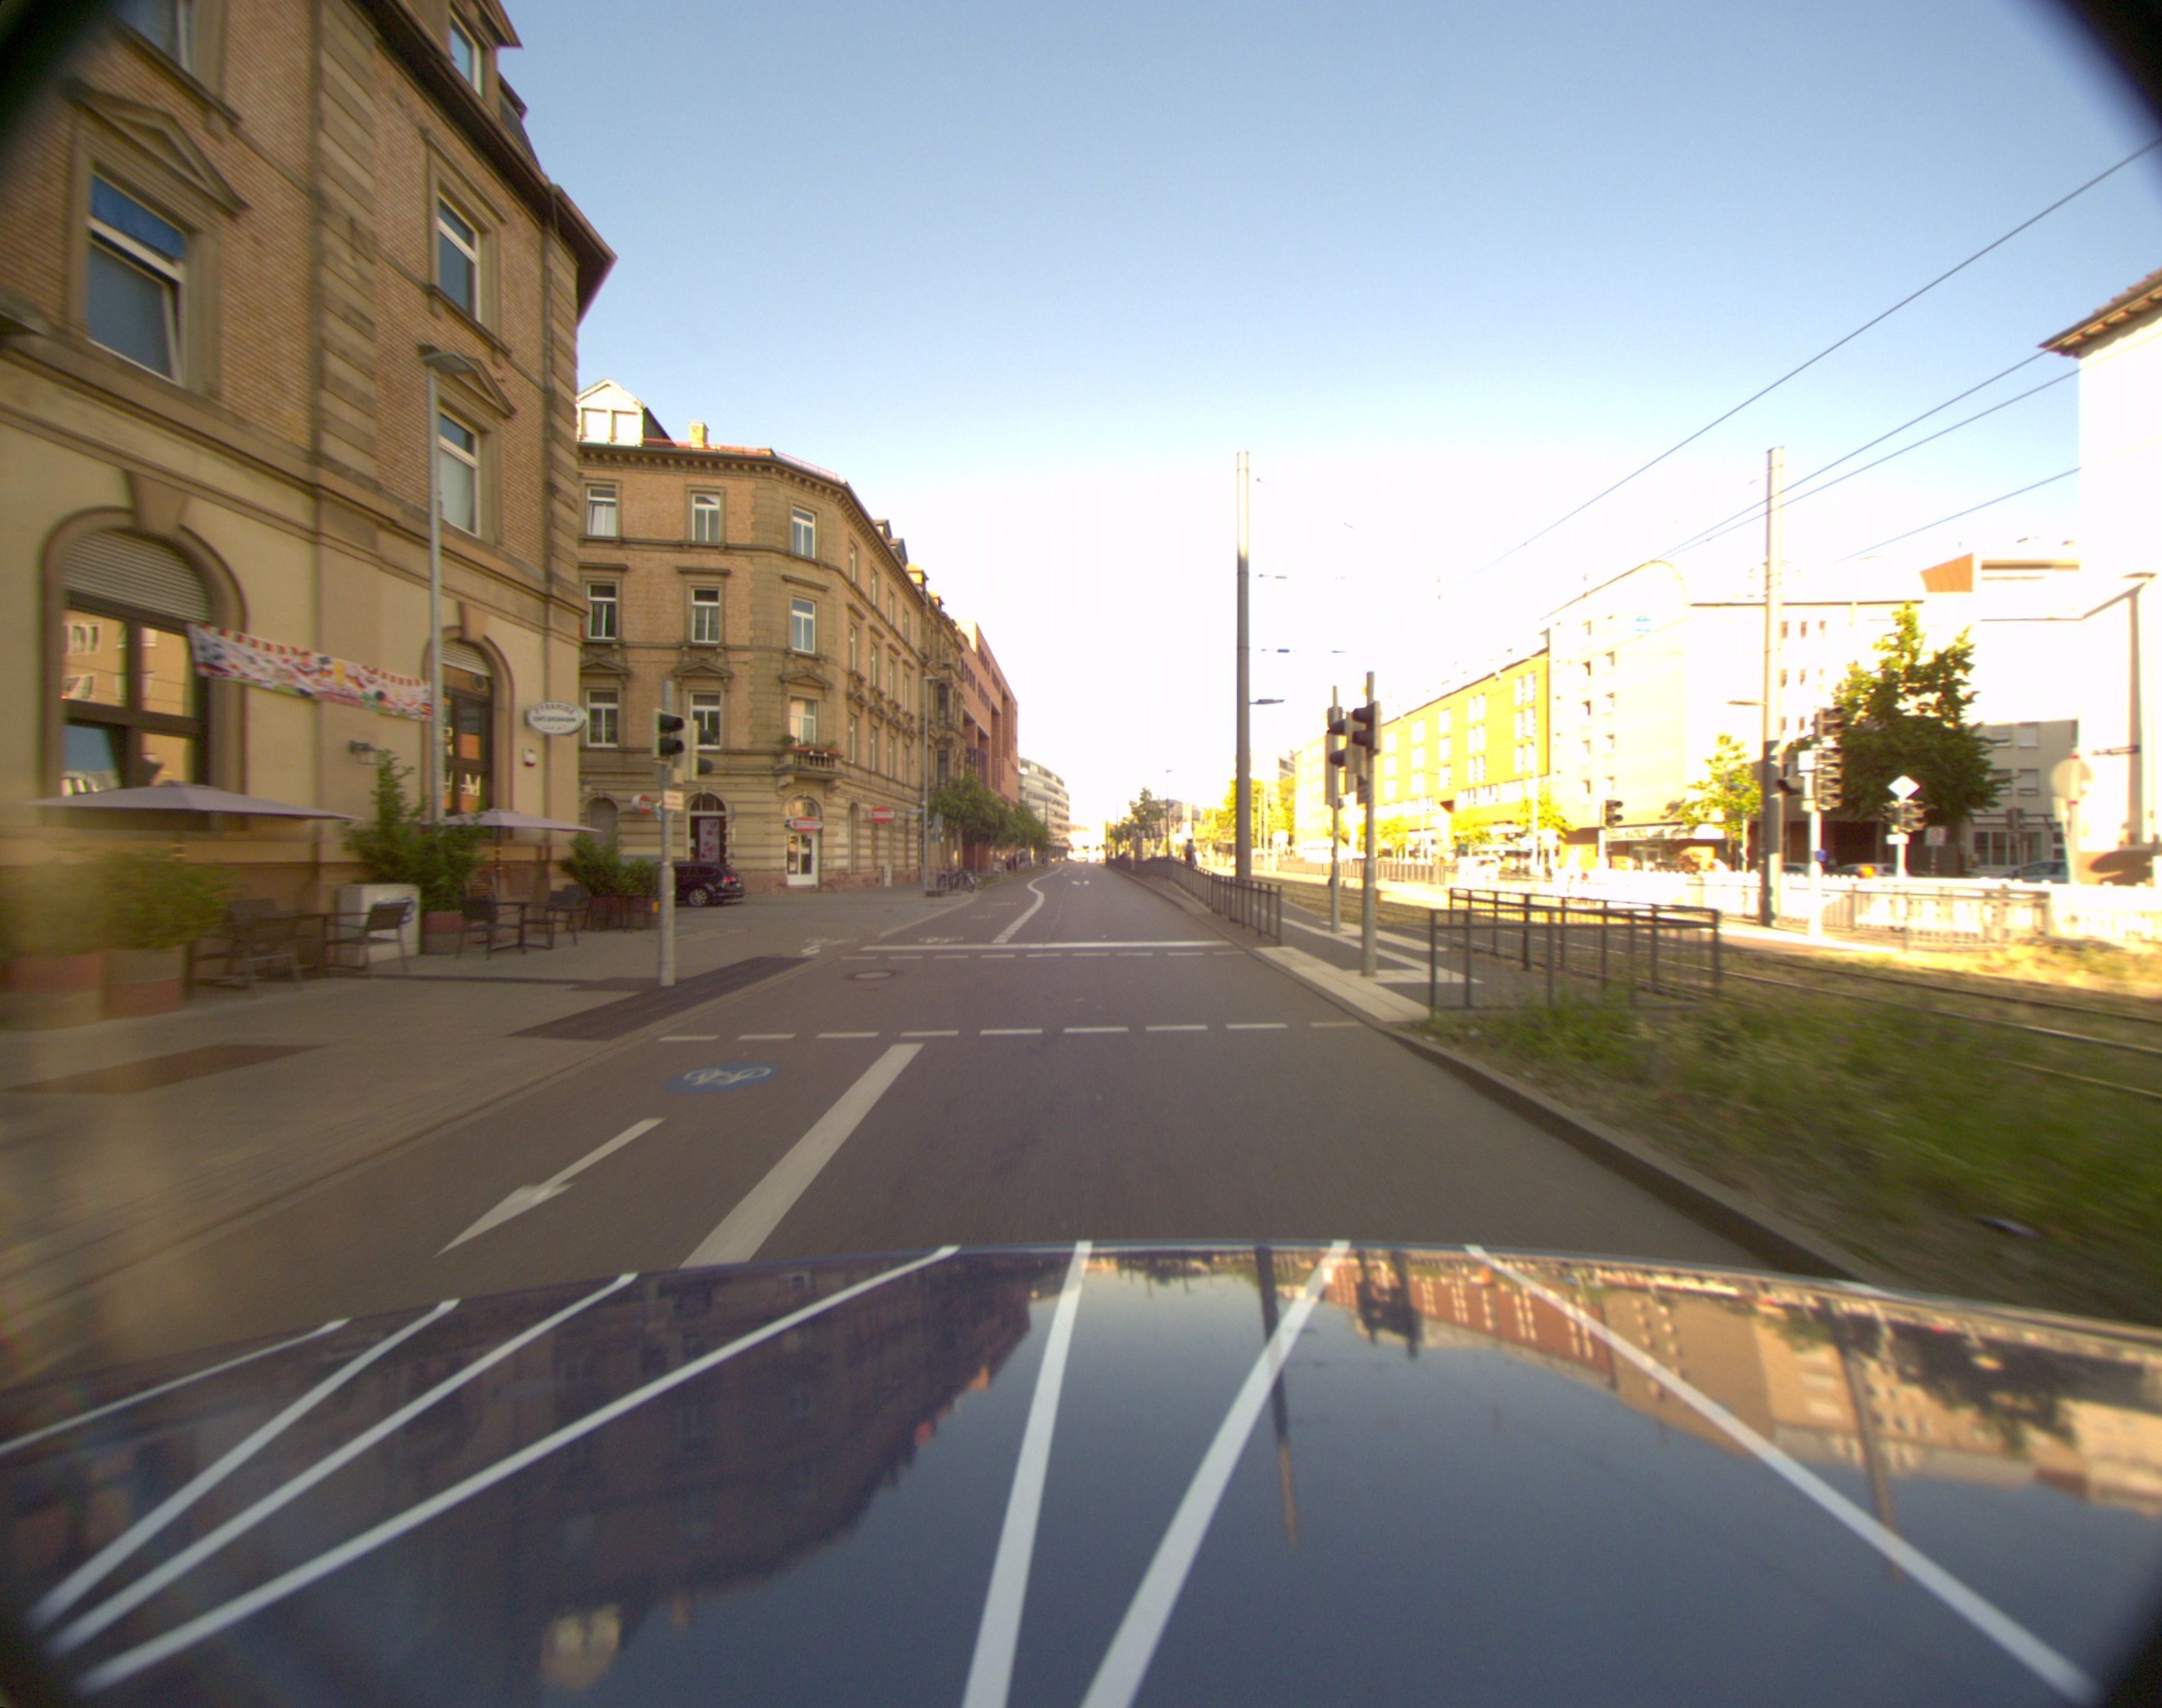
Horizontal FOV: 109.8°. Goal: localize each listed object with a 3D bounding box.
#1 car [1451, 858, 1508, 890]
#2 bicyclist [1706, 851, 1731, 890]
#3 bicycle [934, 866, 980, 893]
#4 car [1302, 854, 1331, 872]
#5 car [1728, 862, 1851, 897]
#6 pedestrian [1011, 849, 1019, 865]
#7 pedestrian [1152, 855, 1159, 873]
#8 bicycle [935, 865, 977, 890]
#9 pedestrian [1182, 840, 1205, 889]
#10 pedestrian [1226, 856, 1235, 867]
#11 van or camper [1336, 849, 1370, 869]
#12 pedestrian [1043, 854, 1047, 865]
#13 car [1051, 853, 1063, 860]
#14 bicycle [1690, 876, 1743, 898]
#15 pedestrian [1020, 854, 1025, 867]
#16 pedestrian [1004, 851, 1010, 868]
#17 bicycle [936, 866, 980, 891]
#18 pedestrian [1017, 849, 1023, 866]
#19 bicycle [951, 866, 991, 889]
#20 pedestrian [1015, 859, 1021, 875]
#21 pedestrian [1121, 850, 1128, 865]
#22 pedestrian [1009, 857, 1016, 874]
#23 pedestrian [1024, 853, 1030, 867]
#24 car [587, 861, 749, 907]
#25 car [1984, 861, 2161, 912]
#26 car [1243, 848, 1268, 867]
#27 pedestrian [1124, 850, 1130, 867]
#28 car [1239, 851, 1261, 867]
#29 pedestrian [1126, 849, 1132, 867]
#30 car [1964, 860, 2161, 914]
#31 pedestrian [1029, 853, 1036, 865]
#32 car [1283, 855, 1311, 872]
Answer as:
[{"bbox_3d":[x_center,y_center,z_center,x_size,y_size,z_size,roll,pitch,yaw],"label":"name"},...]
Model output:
[{"bbox_3d":[26.376,1.320,50.429,1.997,2.001,4.150,0,-1,7],"label":"car"},{"bbox_3d":[27.731,0.696,33.058,0.487,1.670,0.666,0,0,-3],"label":"bicyclist"},{"bbox_3d":[-5.296,1.073,32.595,1.831,1.058,0.663,3,-1,-4],"label":"bicycle"},{"bbox_3d":[24.600,0.952,79.485,1.890,1.855,4.317,0,-1,3],"label":"car"},{"bbox_3d":[33.807,1.199,36.413,1.842,1.575,4.155,0,-1,-4],"label":"car"},{"bbox_3d":[-7.315,0.363,83.969,0.734,1.746,0.695,0,1,3],"label":"pedestrian"},{"bbox_3d":[5.502,0.734,55.873,0.430,1.377,0.407,0,1,-11],"label":"pedestrian"},{"bbox_3d":[-5.802,1.111,35.462,1.831,1.058,0.663,3,-1,-4],"label":"bicycle"},{"bbox_3d":[3.835,0.333,25.931,0.656,1.633,0.867,0,2,1],"label":"pedestrian"},{"bbox_3d":[15.423,0.757,78.454,0.674,1.183,0.906,0,0,0],"label":"pedestrian"},{"bbox_3d":[30.030,0.600,84.159,1.998,2.156,5.618,0,-2,2],"label":"van or camper"},{"bbox_3d":[-5.550,0.867,117.155,0.624,1.692,0.749,0,1,-9],"label":"pedestrian"},{"bbox_3d":[-5.944,0.573,191.676,1.901,1.611,4.177,0,-1,16],"label":"car"},{"bbox_3d":[27.646,1.423,33.058,1.741,0.942,0.685,0,0,-3],"label":"bicycle"},{"bbox_3d":[-7.459,0.818,97.602,0.421,1.746,0.539,0,1,24],"label":"pedestrian"},{"bbox_3d":[-7.828,0.568,80.386,0.539,1.746,0.421,0,1,-26],"label":"pedestrian"},{"bbox_3d":[-5.495,1.093,34.072,1.831,1.058,0.663,3,-1,-4],"label":"bicycle"},{"bbox_3d":[-6.634,0.373,82.393,0.537,1.746,0.696,0,1,7],"label":"pedestrian"},{"bbox_3d":[-5.323,1.134,36.827,1.831,1.058,0.663,3,-1,-4],"label":"bicycle"},{"bbox_3d":[-6.717,1.380,80.827,0.538,1.746,0.464,0,1,-15],"label":"pedestrian"},{"bbox_3d":[4.435,0.389,78.227,0.674,1.553,0.906,0,1,0],"label":"pedestrian"},{"bbox_3d":[-7.406,1.240,81.826,0.537,1.746,0.696,0,1,11],"label":"pedestrian"},{"bbox_3d":[-7.096,0.788,99.605,0.640,1.703,0.573,0,1,16],"label":"pedestrian"},{"bbox_3d":[-12.876,0.950,23.927,4.155,1.379,1.617,1,-2,-10],"label":"car"},{"bbox_3d":[33.872,1.042,25.683,1.842,1.575,3.999,0,-1,-4],"label":"car"},{"bbox_3d":[22.026,0.399,96.184,2.051,2.344,4.920,0,0,0],"label":"car"},{"bbox_3d":[4.354,0.424,72.349,0.506,1.669,0.651,0,1,0],"label":"pedestrian"},{"bbox_3d":[25.555,0.724,114.859,2.084,2.276,5.264,0,0,-1],"label":"car"},{"bbox_3d":[4.682,0.390,74.410,0.506,1.722,0.651,0,1,0],"label":"pedestrian"},{"bbox_3d":[31.966,1.011,24.595,1.842,1.575,4.129,0,-1,-4],"label":"car"},{"bbox_3d":[-6.404,0.654,100.537,0.703,1.596,0.519,1,1,29],"label":"pedestrian"},{"bbox_3d":[24.729,1.065,87.159,1.891,1.855,4.316,0,-1,0],"label":"car"}]
